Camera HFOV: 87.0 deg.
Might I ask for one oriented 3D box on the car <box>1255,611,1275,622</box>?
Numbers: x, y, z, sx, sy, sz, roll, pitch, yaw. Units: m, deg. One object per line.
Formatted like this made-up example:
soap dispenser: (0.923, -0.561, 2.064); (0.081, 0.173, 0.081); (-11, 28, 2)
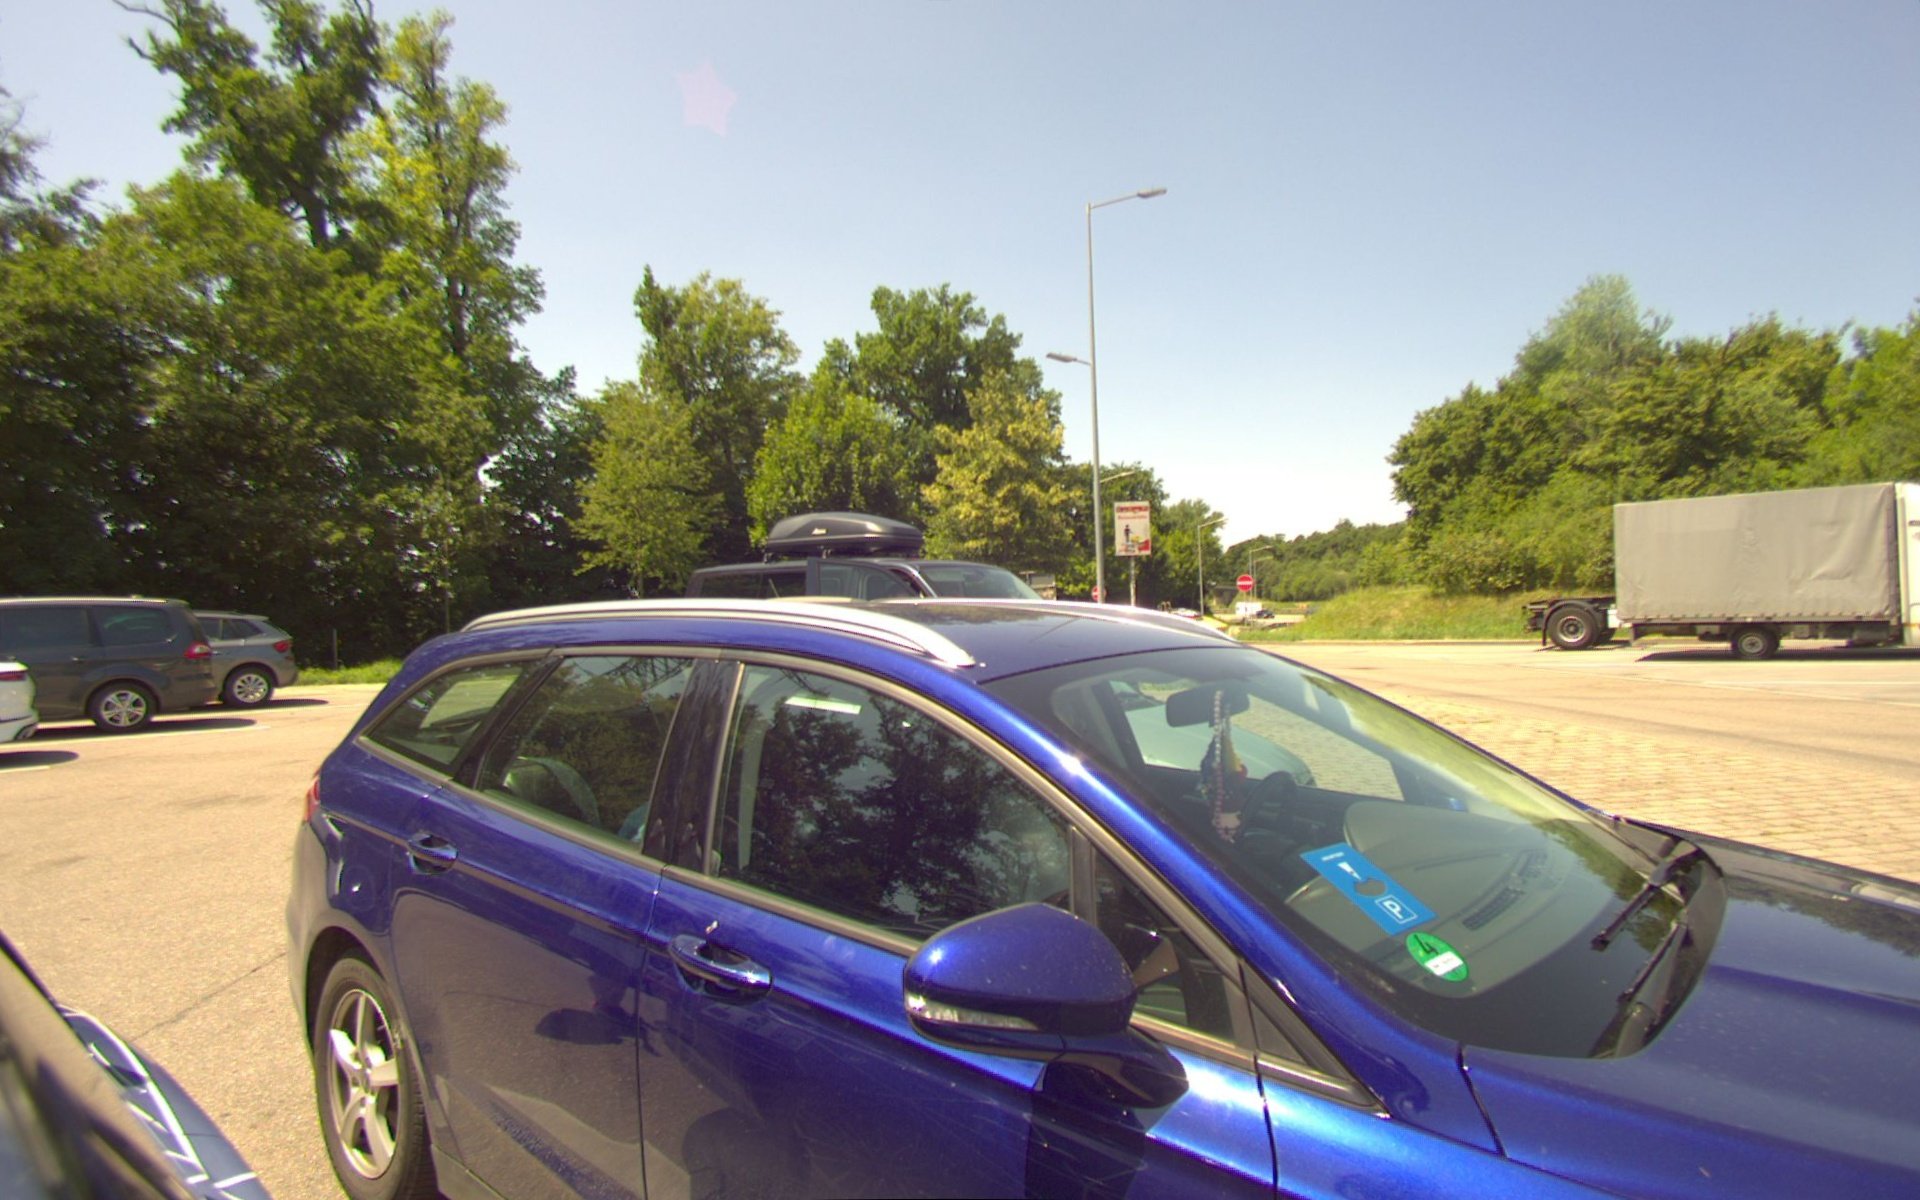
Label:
car: (48.747, 2.565, 161.950); (1.726, 1.680, 4.003); (-1, 0, -4)

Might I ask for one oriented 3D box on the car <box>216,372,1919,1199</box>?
car: (0.255, 0.635, 2.062); (4.637, 1.493, 1.720); (-2, -1, 39)

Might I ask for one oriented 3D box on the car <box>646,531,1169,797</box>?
car: (-0.650, 0.512, 9.348); (4.635, 1.884, 1.937); (-2, 0, 37)

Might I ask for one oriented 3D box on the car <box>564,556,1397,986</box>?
car: (-0.207, 0.673, 5.774); (4.637, 1.545, 1.720); (-2, 0, 39)

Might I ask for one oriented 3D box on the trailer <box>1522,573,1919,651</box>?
trailer: (17.646, 0.318, 23.141); (8.088, 1.385, 2.200); (-4, -1, 41)

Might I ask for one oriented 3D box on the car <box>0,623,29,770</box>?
car: (-10.987, 0.933, 9.148); (3.767, 1.396, 1.722); (0, -1, -43)

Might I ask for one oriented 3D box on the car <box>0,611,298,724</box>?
car: (-12.584, 0.958, 15.693); (3.762, 1.551, 1.724); (0, -1, -38)

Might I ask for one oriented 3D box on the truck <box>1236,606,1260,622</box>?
truck: (48.188, 2.309, 169.528); (2.077, 2.461, 5.573); (-1, 0, -4)

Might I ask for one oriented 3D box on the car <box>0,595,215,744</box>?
car: (-11.646, 0.824, 12.613); (3.762, 1.737, 1.724); (0, -1, -38)

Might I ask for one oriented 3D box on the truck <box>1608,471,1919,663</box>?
truck: (16.718, -0.595, 18.920); (7.337, 3.235, 2.502); (-4, -1, 41)

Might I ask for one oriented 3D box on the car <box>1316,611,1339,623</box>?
car: (54.050, 2.497, 148.833); (1.726, 1.680, 4.003); (-1, 0, -4)
